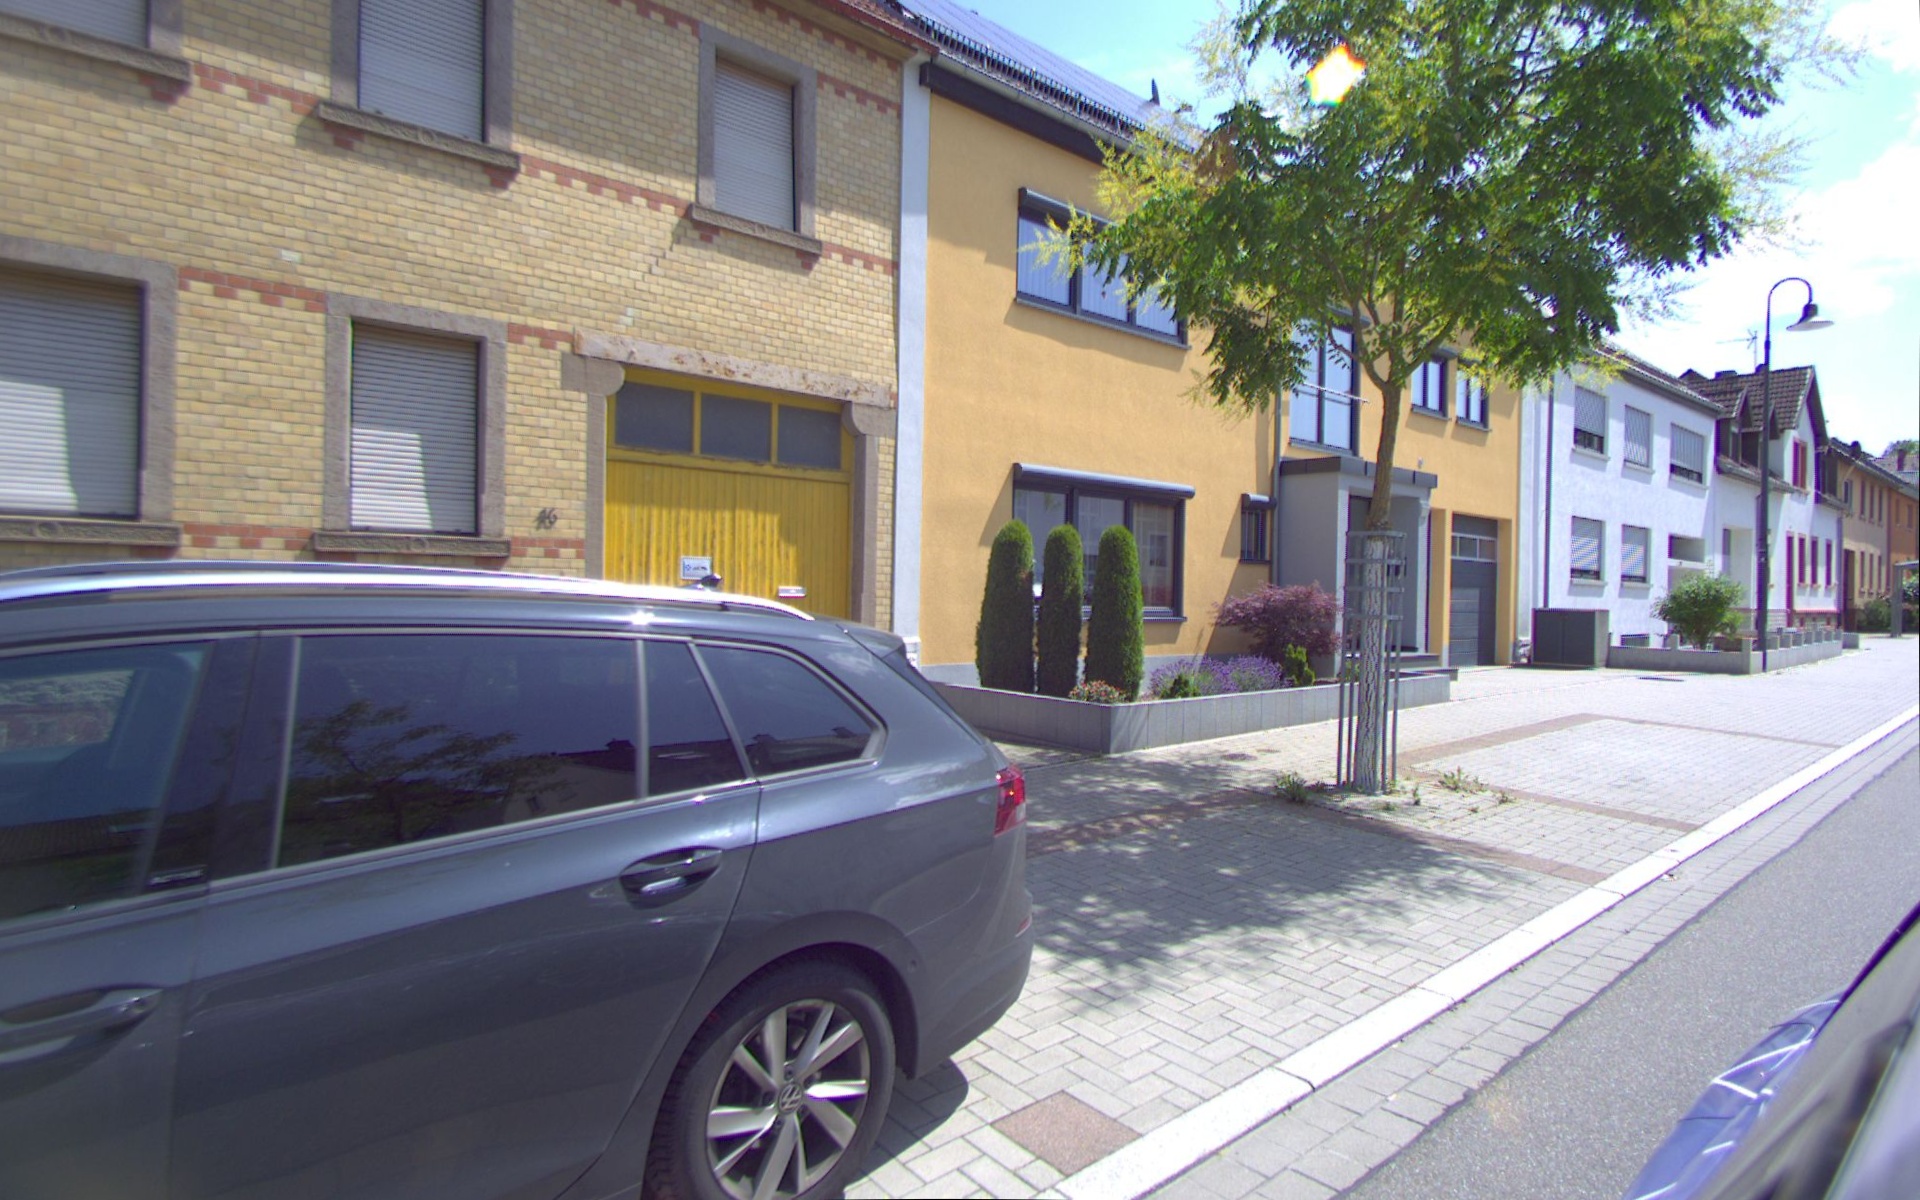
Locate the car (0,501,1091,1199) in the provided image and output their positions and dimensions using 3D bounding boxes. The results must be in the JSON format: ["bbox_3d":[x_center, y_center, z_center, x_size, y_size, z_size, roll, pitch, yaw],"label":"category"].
[{"bbox_3d":[-1.777,0.612,2.066,4.223,1.507,1.769,-1,1,-42],"label":"car"}]
